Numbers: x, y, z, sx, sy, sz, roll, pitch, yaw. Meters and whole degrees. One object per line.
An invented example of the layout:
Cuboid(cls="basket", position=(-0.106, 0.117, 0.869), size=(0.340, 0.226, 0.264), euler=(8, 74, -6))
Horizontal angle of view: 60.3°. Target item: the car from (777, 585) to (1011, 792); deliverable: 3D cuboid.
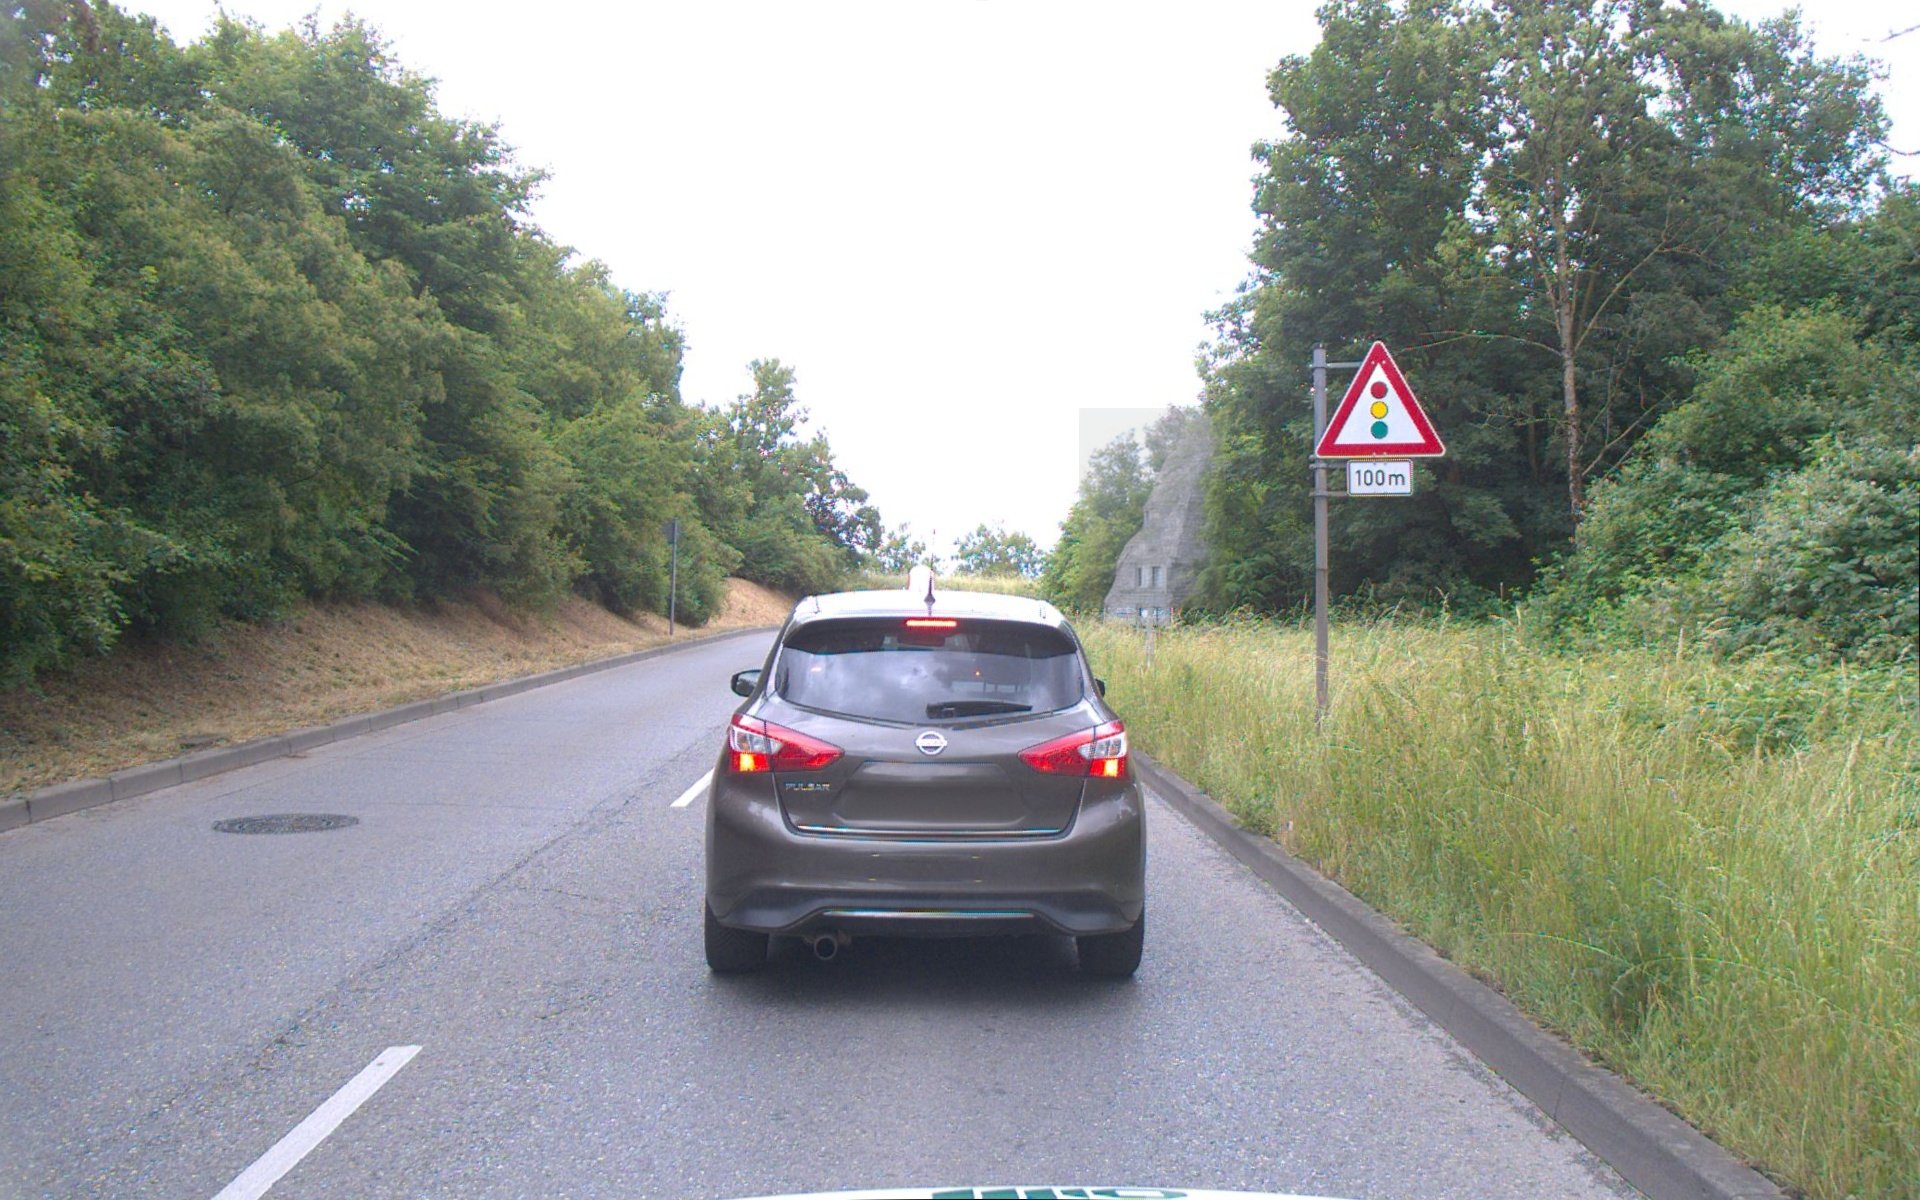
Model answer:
Cuboid(cls="car", position=(-0.521, 0.667, 14.488), size=(1.793, 1.583, 3.624), euler=(0, 0, -1))

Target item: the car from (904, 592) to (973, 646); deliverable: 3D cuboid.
Cuboid(cls="car", position=(-0.615, 0.536, 49.622), size=(1.699, 1.553, 3.644), euler=(0, 0, 5))

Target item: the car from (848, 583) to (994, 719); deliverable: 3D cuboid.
Cuboid(cls="car", position=(-0.470, 0.583, 21.069), size=(1.700, 1.583, 3.543), euler=(0, 0, -1))

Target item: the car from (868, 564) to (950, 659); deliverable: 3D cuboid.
Cuboid(cls="car", position=(-1.080, 0.233, 35.940), size=(1.700, 1.968, 3.543), euler=(0, 0, -1))

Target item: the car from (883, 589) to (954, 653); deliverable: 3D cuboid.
Cuboid(cls="car", position=(-1.070, 0.499, 41.574), size=(1.701, 1.553, 3.542), euler=(0, 0, -2))

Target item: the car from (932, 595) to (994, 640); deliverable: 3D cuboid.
Cuboid(cls="car", position=(0.134, 0.606, 59.936), size=(1.699, 1.553, 3.644), euler=(0, 0, 9))

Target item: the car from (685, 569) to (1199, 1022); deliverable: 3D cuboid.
Cuboid(cls="car", position=(-0.132, 0.685, 7.576), size=(1.793, 1.583, 3.497), euler=(1, 0, -3))

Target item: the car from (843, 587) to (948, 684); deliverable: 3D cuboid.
Cuboid(cls="car", position=(-1.068, 0.576, 28.779), size=(1.700, 1.583, 3.543), euler=(0, 0, -1))
